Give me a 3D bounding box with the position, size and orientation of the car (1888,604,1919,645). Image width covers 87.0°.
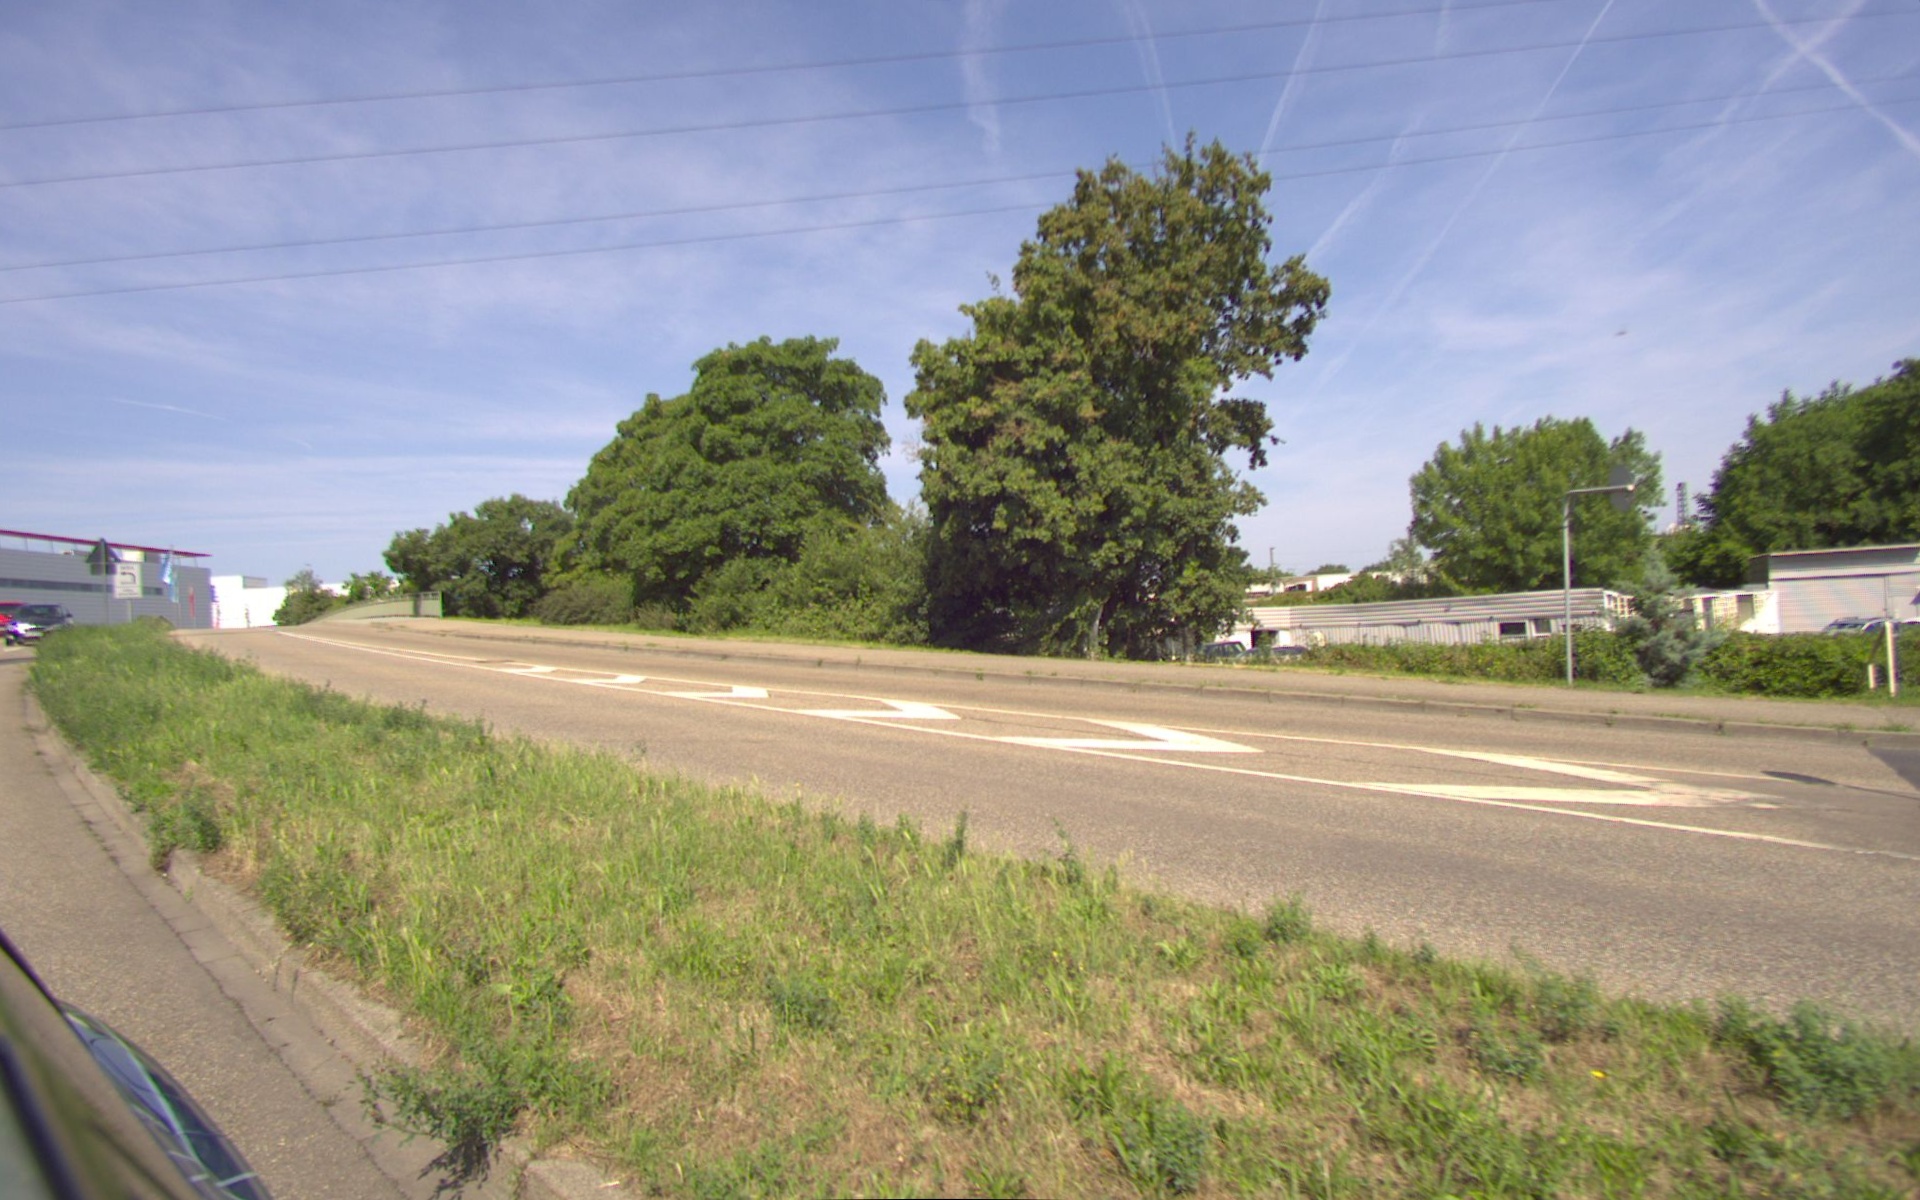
[{"bbox_3d":[33.605,0.790,34.612,3.125,1.303,1.604,-3,-2,-25],"label":"car"}]

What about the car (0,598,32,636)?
[{"bbox_3d":[-50.282,0.886,53.083,1.958,1.921,4.152,-3,2,-38],"label":"car"}]

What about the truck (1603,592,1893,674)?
[{"bbox_3d":[23.427,1.065,30.404,2.456,2.130,6.382,-2,-2,-39],"label":"truck"}]

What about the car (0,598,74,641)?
[{"bbox_3d":[-33.512,0.677,36.659,1.821,1.429,4.009,-2,1,-37],"label":"car"}]
